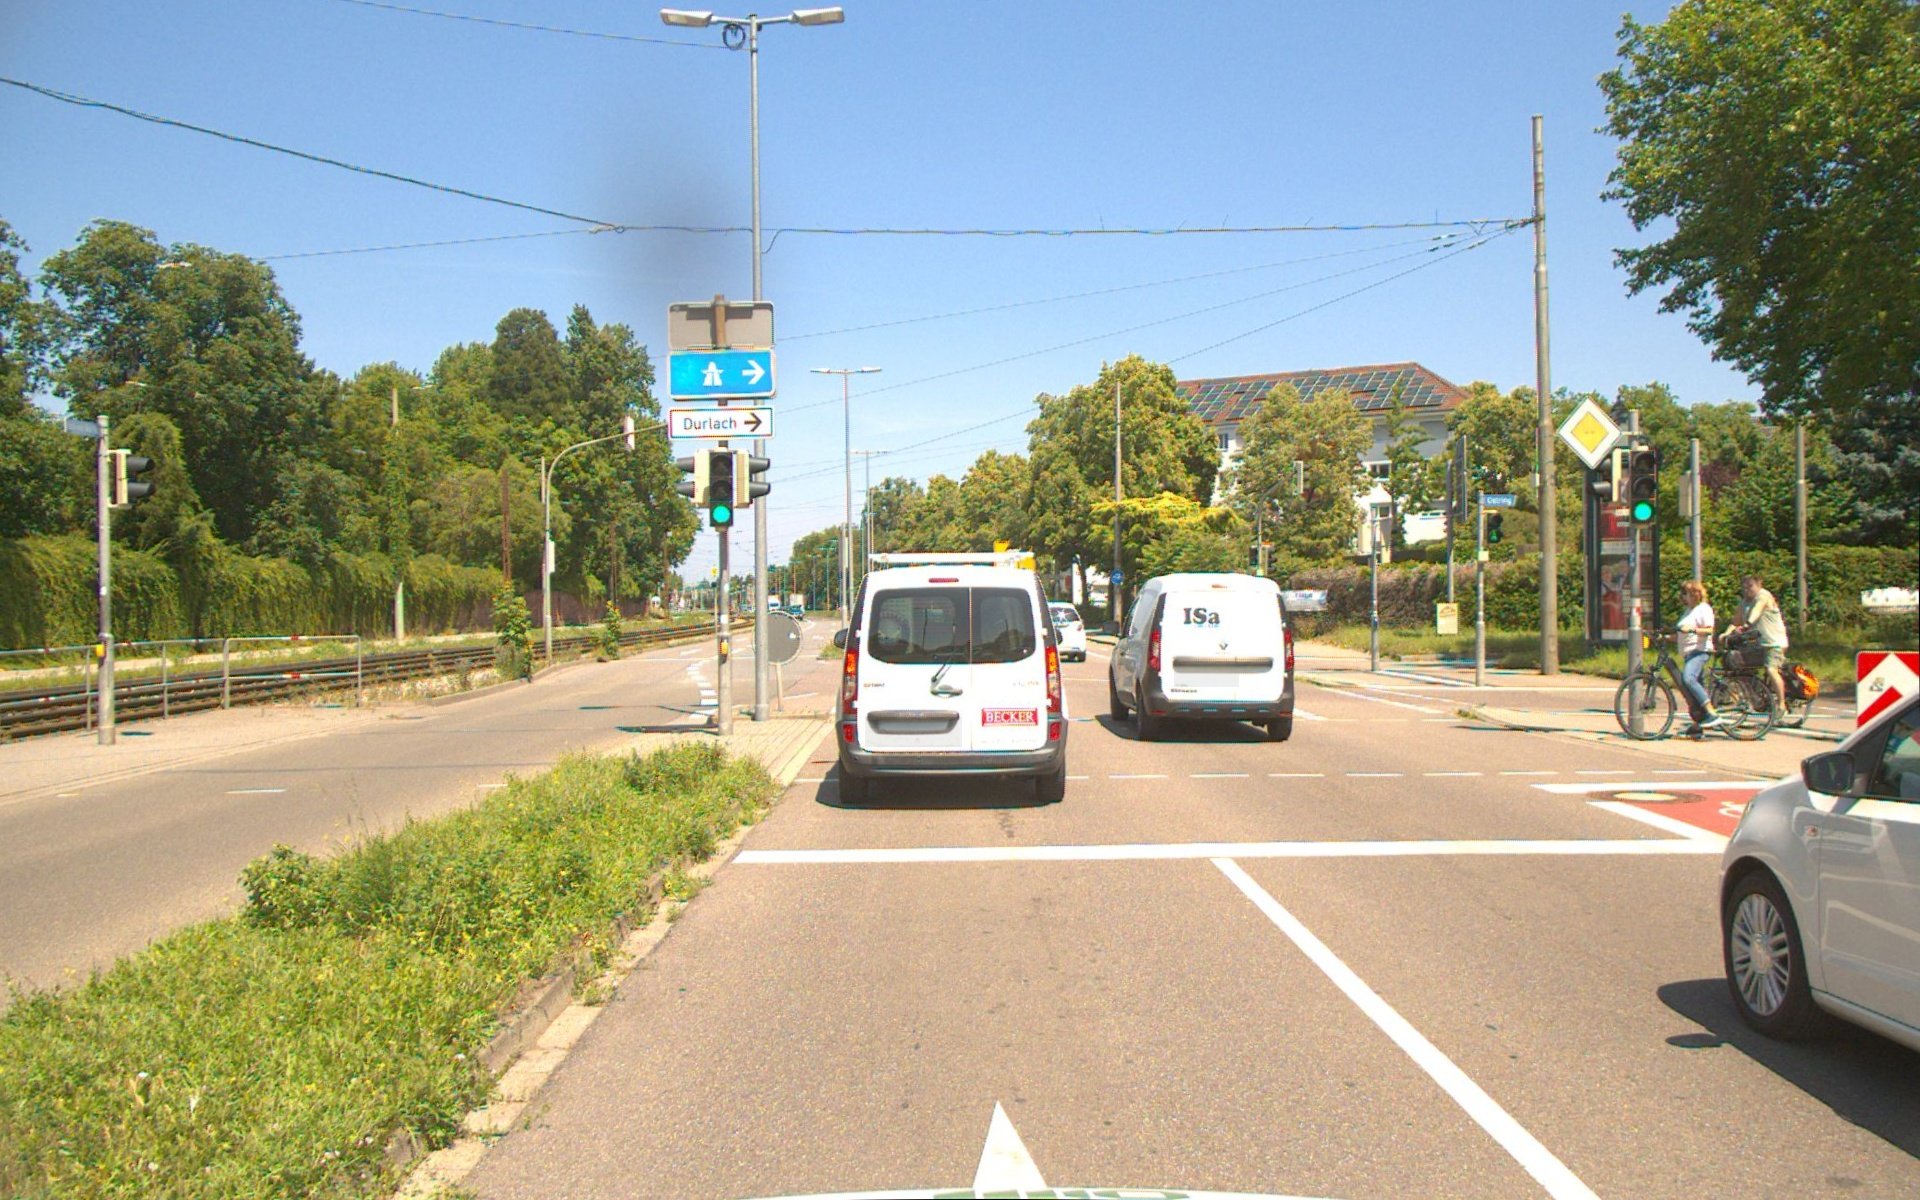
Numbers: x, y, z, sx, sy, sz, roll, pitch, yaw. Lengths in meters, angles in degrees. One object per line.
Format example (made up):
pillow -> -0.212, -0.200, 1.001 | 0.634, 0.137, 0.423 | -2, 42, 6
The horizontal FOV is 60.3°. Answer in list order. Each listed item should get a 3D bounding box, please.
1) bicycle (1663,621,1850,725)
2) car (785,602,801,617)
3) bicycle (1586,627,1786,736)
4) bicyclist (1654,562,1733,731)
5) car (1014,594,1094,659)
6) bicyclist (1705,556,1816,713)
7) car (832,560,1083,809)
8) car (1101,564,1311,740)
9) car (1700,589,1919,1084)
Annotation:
bicycle -> 9.501, 0.850, 19.744 | 1.918, 1.179, 0.891 | 0, -1, -17
car -> -17.828, 0.979, 176.536 | 1.664, 1.539, 4.062 | -1, 0, -5
bicycle -> 7.944, 0.883, 18.172 | 1.827, 1.144, 0.895 | 0, 0, 6
bicyclist -> 8.105, 0.507, 18.297 | 0.564, 1.819, 0.768 | 1, 0, 6
car -> 2.468, 0.666, 44.184 | 1.798, 1.596, 3.999 | 1, 0, -1
bicyclist -> 9.538, 0.399, 19.727 | 0.712, 1.819, 0.972 | 0, -1, -16
car -> -0.067, 0.600, 14.021 | 1.784, 1.770, 4.395 | 0, 0, -1
car -> 2.752, 0.556, 19.372 | 1.693, 1.820, 4.062 | 1, 0, -2
car -> 3.666, 0.722, 4.665 | 1.577, 1.473, 3.435 | 1, 0, -1
